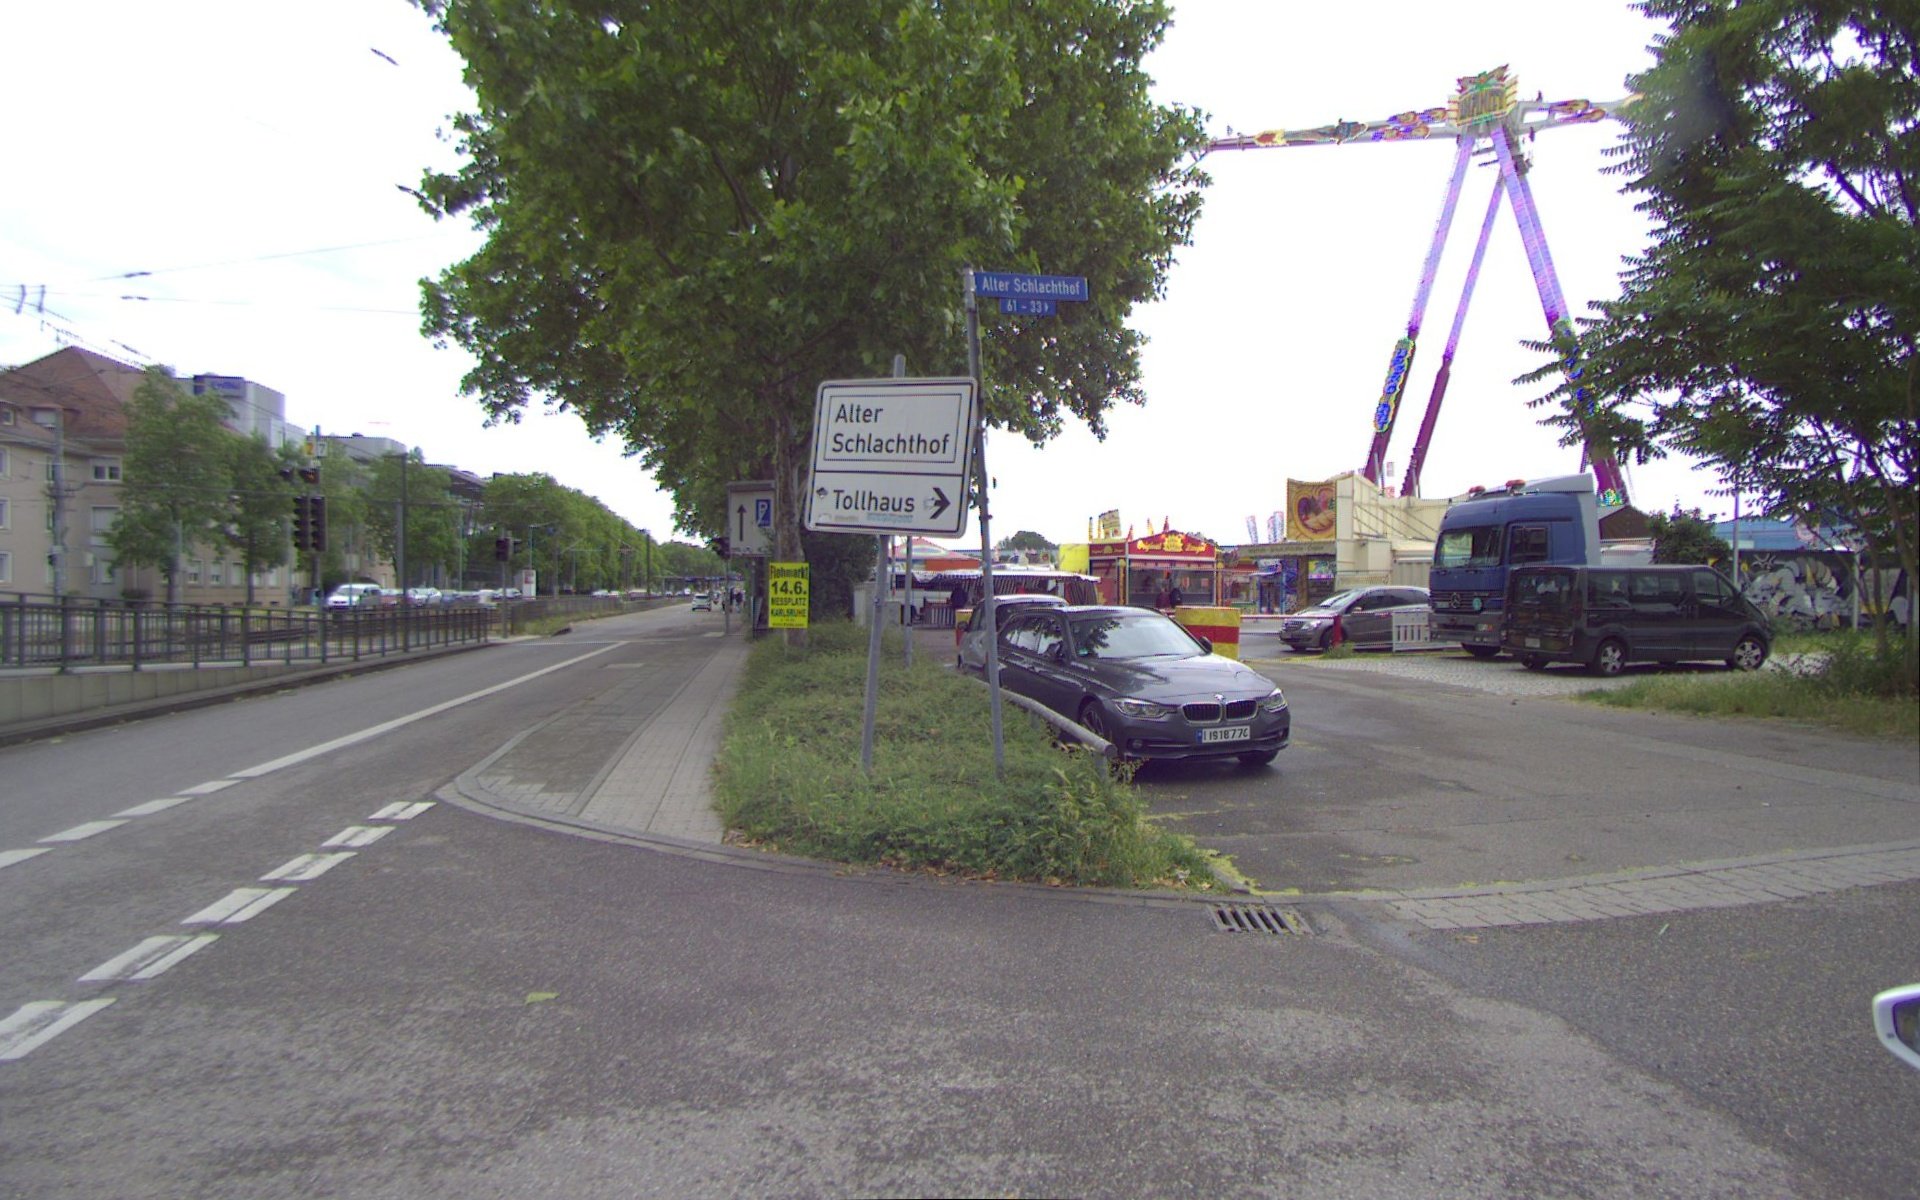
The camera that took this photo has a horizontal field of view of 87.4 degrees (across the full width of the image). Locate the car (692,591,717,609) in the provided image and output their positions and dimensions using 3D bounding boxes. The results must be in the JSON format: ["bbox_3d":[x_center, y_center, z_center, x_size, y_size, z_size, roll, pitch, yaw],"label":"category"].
[{"bbox_3d":[-23.047,-0.037,90.627,1.813,1.573,3.993,-1,1,-10],"label":"car"}]

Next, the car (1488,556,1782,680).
[{"bbox_3d":[12.412,0.267,18.584,4.509,2.041,1.995,-1,2,-13],"label":"car"}]

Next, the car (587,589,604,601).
[{"bbox_3d":[-54.212,-0.744,149.540,1.966,1.818,3.988,0,0,-15],"label":"car"}]

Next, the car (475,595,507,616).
[{"bbox_3d":[-42.722,0.507,91.568,1.966,1.818,3.988,0,0,-15],"label":"car"}]

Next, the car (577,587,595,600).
[{"bbox_3d":[-53.761,-0.885,144.472,1.966,1.818,3.988,0,0,-15],"label":"car"}]

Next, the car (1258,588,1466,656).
[{"bbox_3d":[9.990,0.508,25.068,4.509,1.596,1.995,0,0,-13],"label":"car"}]

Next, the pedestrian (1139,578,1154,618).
[{"bbox_3d":[8.137,-0.096,43.812,0.486,1.709,0.522,0,0,-14],"label":"pedestrian"}]

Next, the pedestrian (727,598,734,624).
[{"bbox_3d":[-18.225,0.889,79.739,0.389,2.040,0.403,0,0,4],"label":"pedestrian"}]

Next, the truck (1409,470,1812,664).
[{"bbox_3d":[14.308,-0.675,22.198,8.075,3.873,2.593,0,0,-13],"label":"truck"}]

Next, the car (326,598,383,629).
[{"bbox_3d":[-37.352,0.804,62.050,1.966,1.818,3.988,0,0,-15],"label":"car"}]

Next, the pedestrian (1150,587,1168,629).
[{"bbox_3d":[8.191,0.320,41.295,0.517,1.709,0.491,0,0,-28],"label":"pedestrian"}]

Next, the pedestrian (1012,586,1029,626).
[{"bbox_3d":[2.300,0.231,38.211,0.486,1.482,0.522,0,0,-14],"label":"pedestrian"}]

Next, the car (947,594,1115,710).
[{"bbox_3d":[0.991,0.727,16.157,1.835,1.615,3.994,0,0,-9],"label":"car"}]

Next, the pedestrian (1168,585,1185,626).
[{"bbox_3d":[8.968,0.223,41.624,0.517,1.709,0.491,0,0,-28],"label":"pedestrian"}]

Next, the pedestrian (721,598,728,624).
[{"bbox_3d":[-18.708,0.892,79.737,0.389,2.040,0.403,0,0,4],"label":"pedestrian"}]

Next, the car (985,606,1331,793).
[{"bbox_3d":[1.704,0.800,10.098,1.838,1.449,3.987,0,0,-15],"label":"car"}]

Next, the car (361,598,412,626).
[{"bbox_3d":[-38.624,0.816,67.719,1.966,1.818,3.988,0,0,-15],"label":"car"}]

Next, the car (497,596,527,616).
[{"bbox_3d":[-42.933,0.577,96.242,1.966,1.818,3.988,0,0,-15],"label":"car"}]

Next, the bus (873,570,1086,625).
[{"bbox_3d":[0.861,-0.127,44.021,9.149,2.257,1.994,0,0,-14],"label":"bus"}]

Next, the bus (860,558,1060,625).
[{"bbox_3d":[0.012,-0.406,47.006,9.149,2.999,1.994,0,0,-14],"label":"bus"}]
